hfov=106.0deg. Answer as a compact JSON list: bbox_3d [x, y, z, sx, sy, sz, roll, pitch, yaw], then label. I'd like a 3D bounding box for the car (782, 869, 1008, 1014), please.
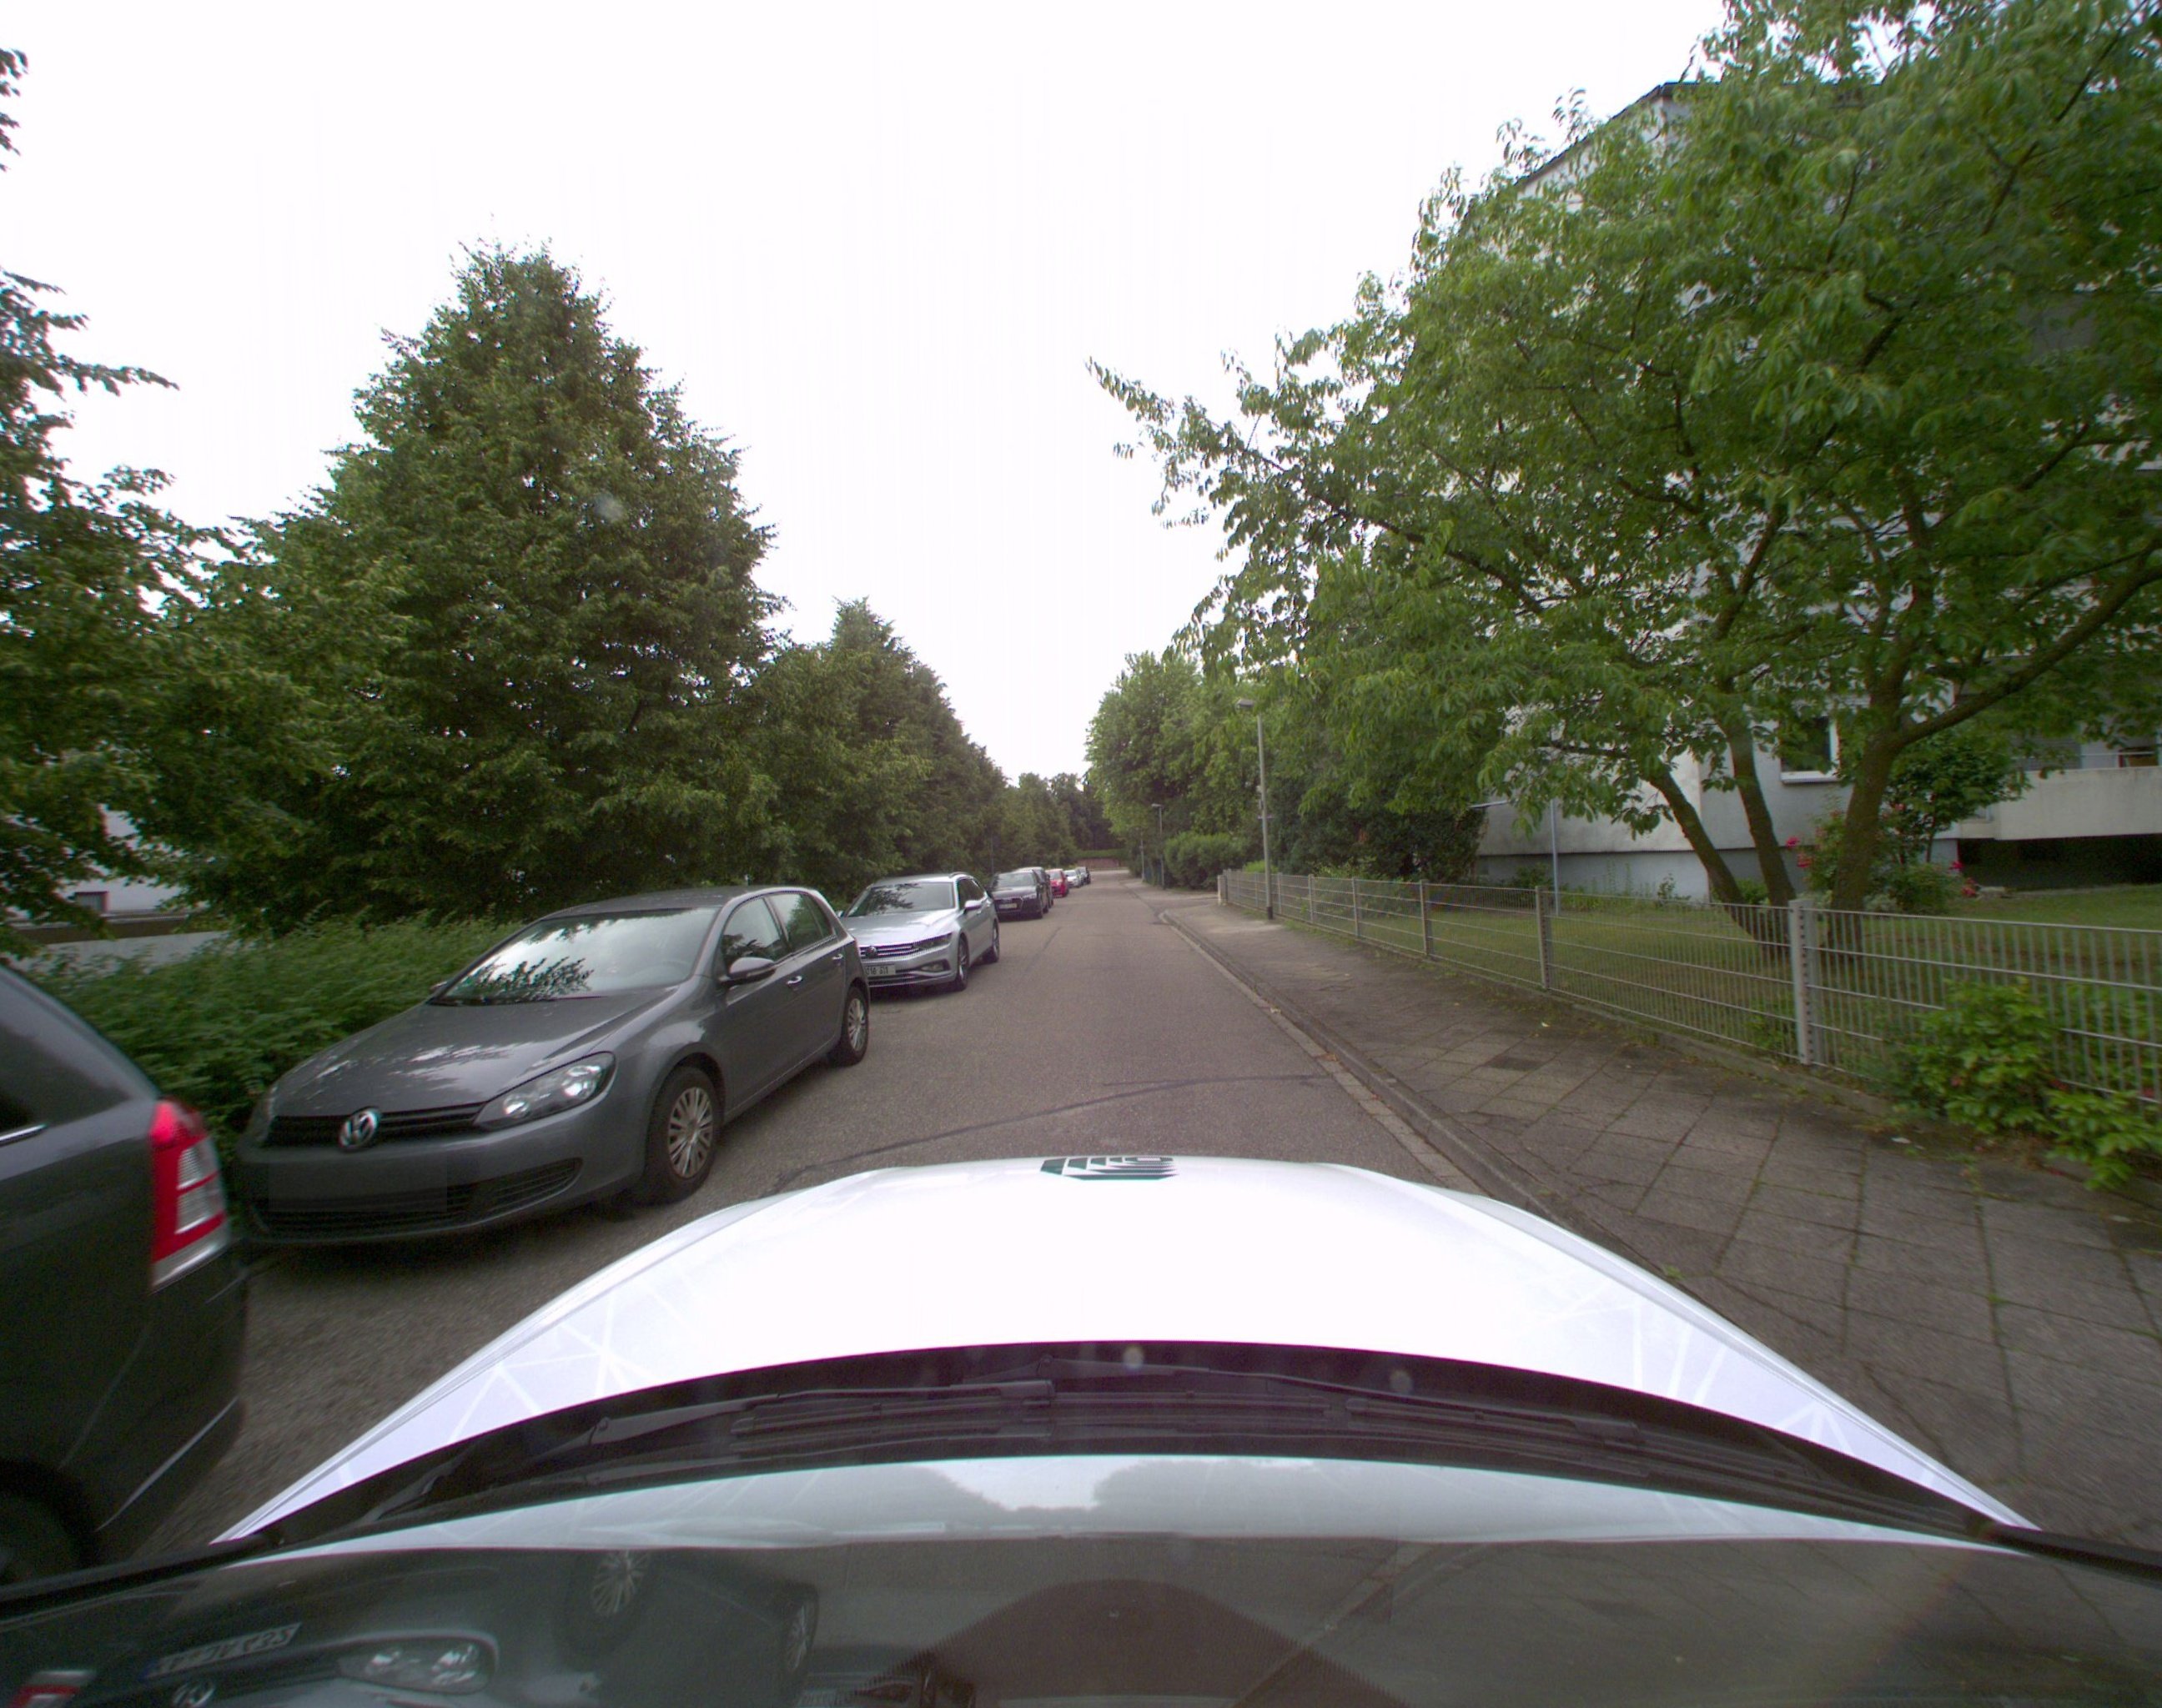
[{"bbox_3d":[-2.280,1.014,11.307,1.769,1.428,4.482,-5,-1,3],"label":"car"}]

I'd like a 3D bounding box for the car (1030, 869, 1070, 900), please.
[{"bbox_3d":[-1.602,1.574,43.236,1.745,1.425,4.002,-5,-1,2],"label":"car"}]

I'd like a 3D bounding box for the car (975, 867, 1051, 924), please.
[{"bbox_3d":[-1.963,1.198,24.688,1.745,1.425,4.002,-5,-1,2],"label":"car"}]

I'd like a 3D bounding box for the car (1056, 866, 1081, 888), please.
[{"bbox_3d":[-0.985,1.840,65.805,1.745,1.519,4.002,-5,-1,2],"label":"car"}]

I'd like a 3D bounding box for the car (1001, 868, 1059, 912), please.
[{"bbox_3d":[-1.920,1.333,31.623,1.745,1.425,4.002,-5,-1,2],"label":"car"}]

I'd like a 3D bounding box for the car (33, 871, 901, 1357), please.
[{"bbox_3d":[-2.612,0.947,4.955,1.750,1.478,4.309,-5,-1,3],"label":"car"}]

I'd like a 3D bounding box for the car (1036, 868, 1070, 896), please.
[{"bbox_3d":[-1.668,1.678,49.820,1.745,1.519,4.002,-5,-1,2],"label":"car"}]
